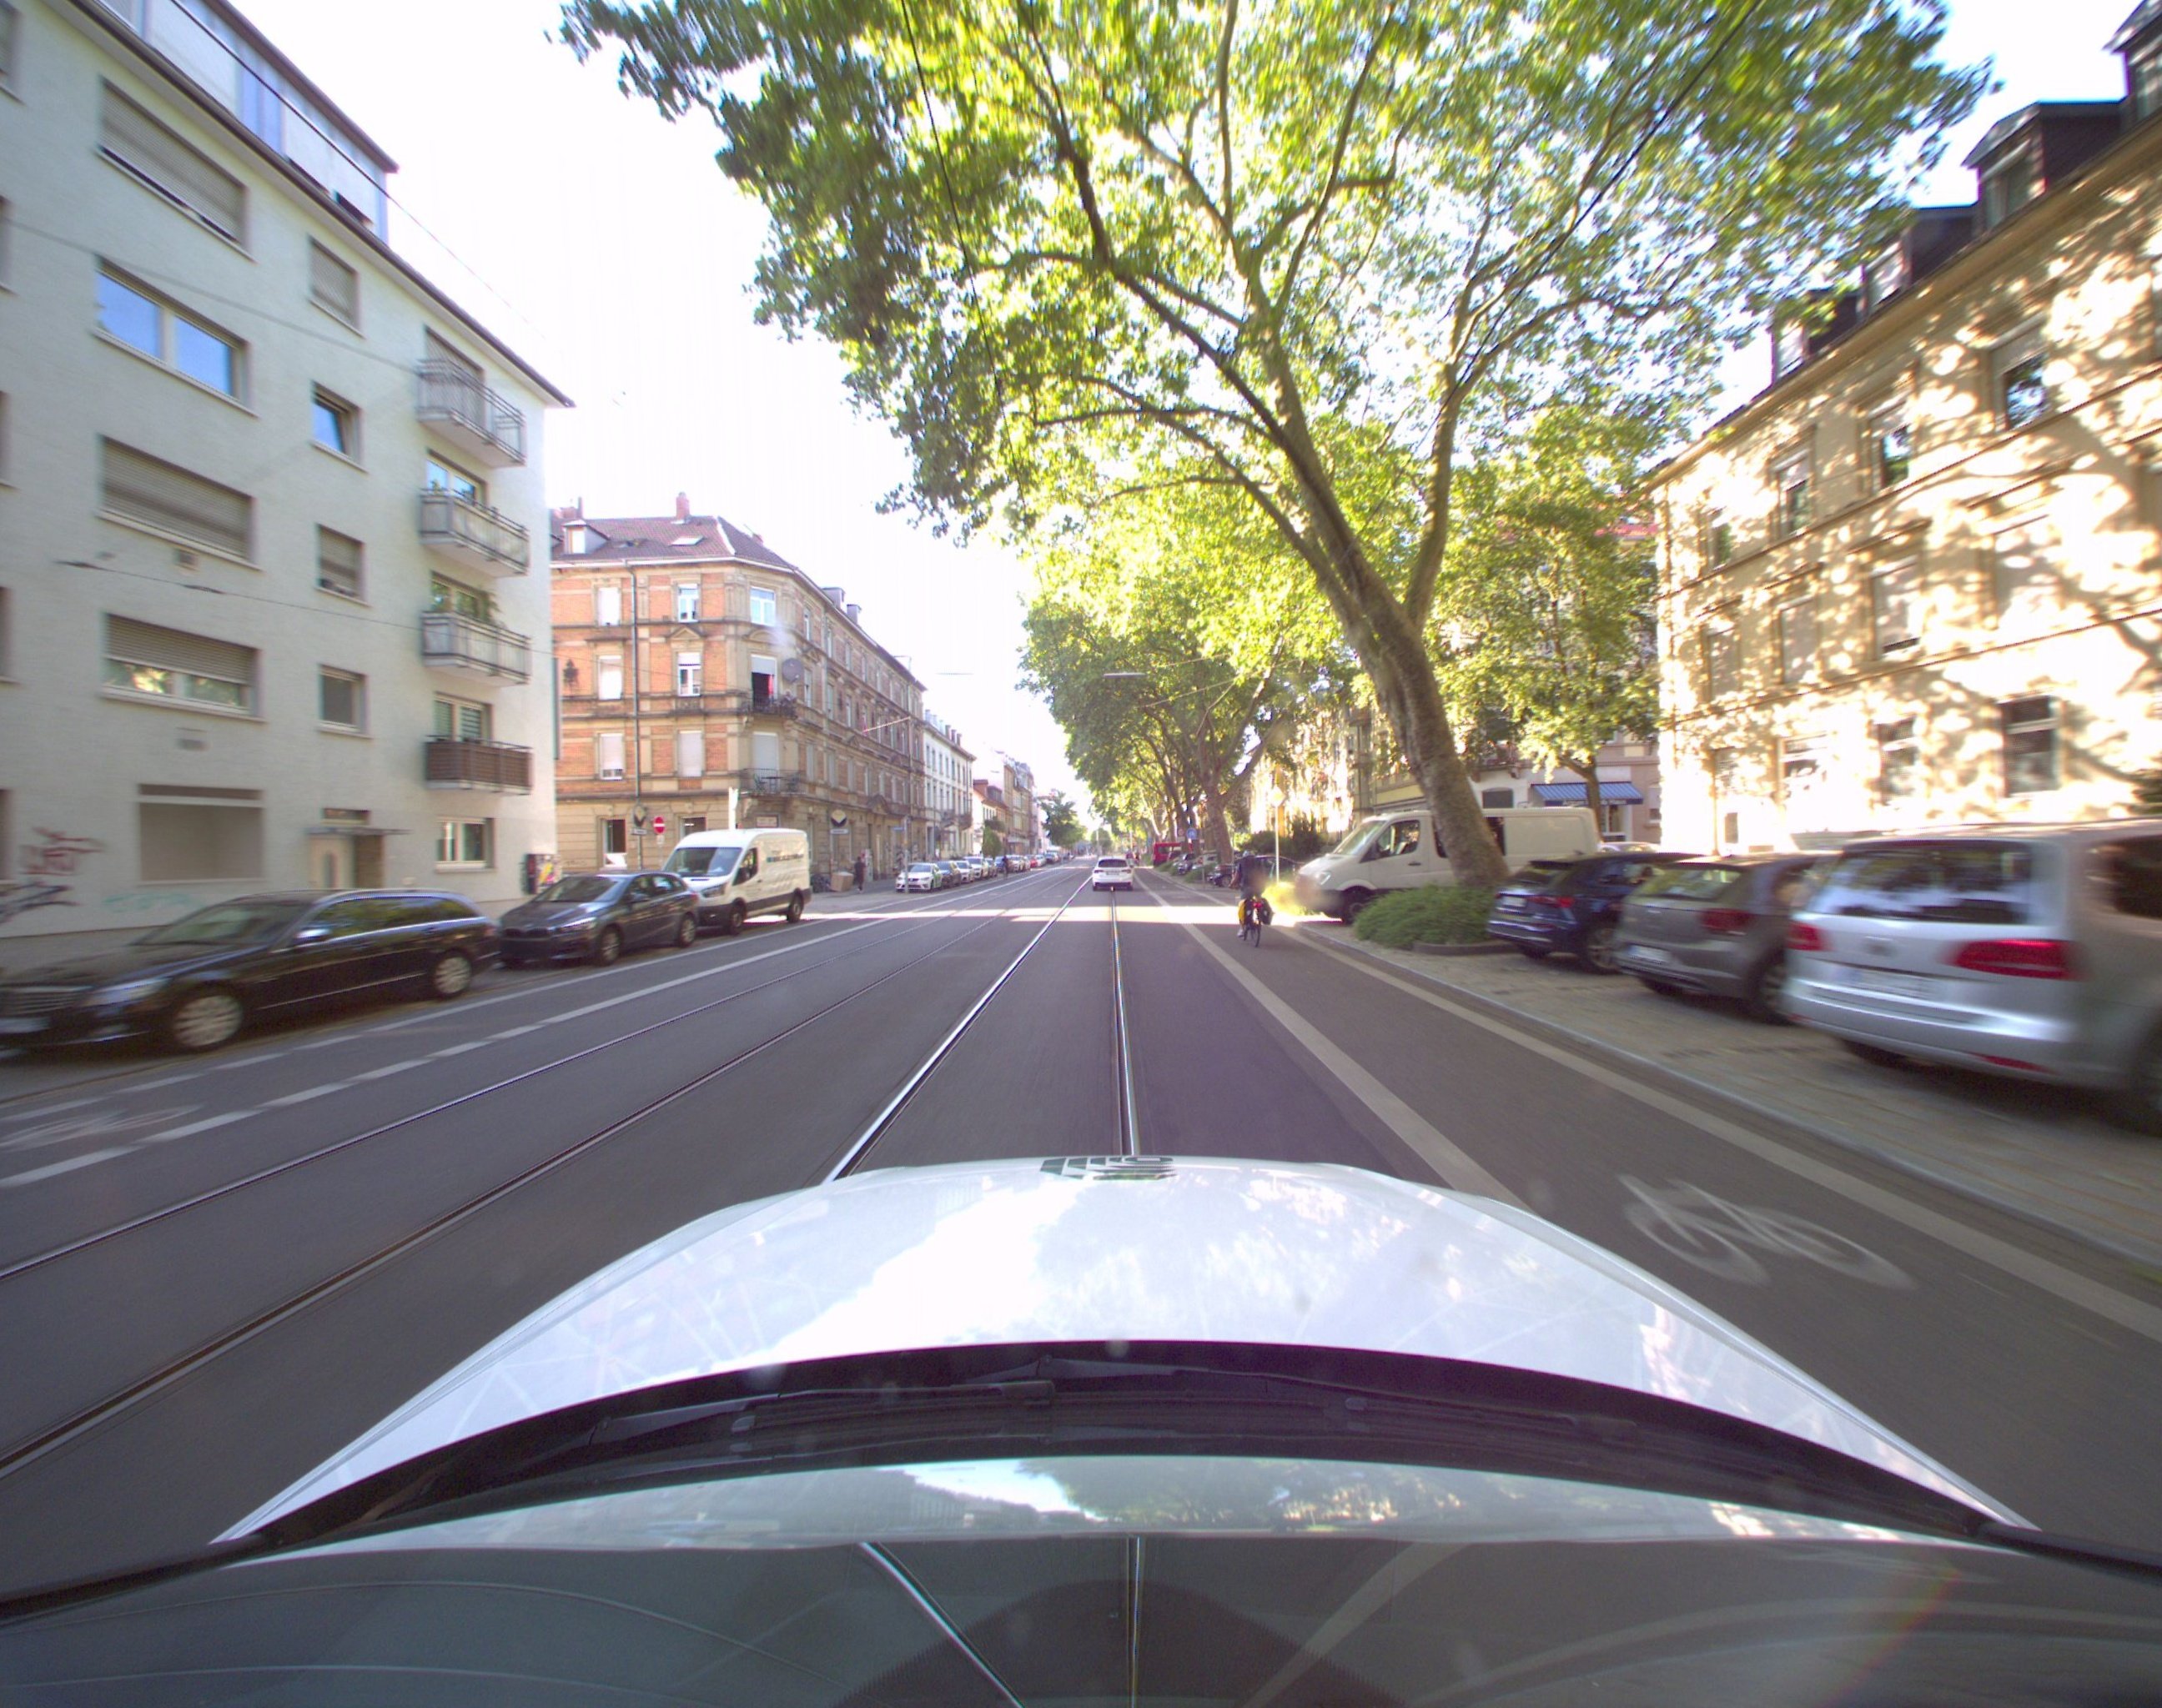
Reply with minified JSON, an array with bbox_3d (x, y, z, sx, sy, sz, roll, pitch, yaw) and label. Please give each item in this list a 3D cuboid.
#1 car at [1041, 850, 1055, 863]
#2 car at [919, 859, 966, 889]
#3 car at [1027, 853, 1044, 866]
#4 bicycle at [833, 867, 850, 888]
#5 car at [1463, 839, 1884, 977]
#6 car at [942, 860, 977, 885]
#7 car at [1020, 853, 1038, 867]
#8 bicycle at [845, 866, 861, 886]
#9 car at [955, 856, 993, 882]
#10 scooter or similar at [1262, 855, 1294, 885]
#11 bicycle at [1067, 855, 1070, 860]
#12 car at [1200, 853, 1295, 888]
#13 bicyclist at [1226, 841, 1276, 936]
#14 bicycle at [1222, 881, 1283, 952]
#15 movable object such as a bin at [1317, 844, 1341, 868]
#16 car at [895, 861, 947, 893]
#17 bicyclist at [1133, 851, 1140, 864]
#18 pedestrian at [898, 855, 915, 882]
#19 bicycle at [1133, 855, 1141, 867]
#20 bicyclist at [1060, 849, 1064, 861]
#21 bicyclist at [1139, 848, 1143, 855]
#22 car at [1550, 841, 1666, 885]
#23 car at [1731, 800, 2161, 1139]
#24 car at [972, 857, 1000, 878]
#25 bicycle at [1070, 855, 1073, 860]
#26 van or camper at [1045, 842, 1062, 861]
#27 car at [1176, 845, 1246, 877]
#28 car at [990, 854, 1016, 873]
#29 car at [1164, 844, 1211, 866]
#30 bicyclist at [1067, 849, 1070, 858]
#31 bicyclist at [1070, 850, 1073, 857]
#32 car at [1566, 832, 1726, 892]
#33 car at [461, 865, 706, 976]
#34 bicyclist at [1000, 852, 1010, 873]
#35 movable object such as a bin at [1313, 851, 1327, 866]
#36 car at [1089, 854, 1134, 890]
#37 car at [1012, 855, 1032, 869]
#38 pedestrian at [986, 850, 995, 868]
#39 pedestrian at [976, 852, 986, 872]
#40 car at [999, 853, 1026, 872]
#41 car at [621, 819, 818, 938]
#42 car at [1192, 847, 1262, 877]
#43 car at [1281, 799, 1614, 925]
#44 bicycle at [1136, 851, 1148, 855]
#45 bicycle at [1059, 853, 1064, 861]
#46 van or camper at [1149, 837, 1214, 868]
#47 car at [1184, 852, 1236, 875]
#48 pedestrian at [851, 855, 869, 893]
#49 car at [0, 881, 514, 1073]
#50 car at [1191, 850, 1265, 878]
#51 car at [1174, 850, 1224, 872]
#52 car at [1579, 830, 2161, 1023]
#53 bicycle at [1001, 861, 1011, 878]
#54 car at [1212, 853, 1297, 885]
[{"bbox_3d":[-5.020,0.362,124.368,1.957,1.781,4.938,1,0,1],"label":"car"},{"bbox_3d":[-7.795,1.071,46.172,1.734,1.562,4.787,0,0,1],"label":"car"},{"bbox_3d":[-5.773,0.700,103.653,1.821,1.502,4.688,0,0,0],"label":"car"},{"bbox_3d":[-12.926,1.261,43.970,0.371,1.034,1.848,-2,0,-1],"label":"bicycle"},{"bbox_3d":[7.304,0.621,10.354,4.040,1.460,1.796,-2,0,0],"label":"car"},{"bbox_3d":[-7.616,1.135,51.397,1.695,1.420,3.997,0,0,-2],"label":"car"},{"bbox_3d":[-6.217,0.699,98.125,1.561,1.562,3.455,-2,0,6],"label":"car"},{"bbox_3d":[-12.957,1.243,46.239,0.371,1.034,1.848,-2,0,-1],"label":"bicycle"},{"bbox_3d":[-7.416,0.991,56.823,1.779,1.723,4.721,0,0,2],"label":"car"},{"bbox_3d":[8.465,0.687,34.974,1.297,1.256,0.342,-2,0,15],"label":"scooter or similar"},{"bbox_3d":[-2.471,0.723,163.093,0.482,1.047,2.042,-3,0,4],"label":"bicycle"},{"bbox_3d":[7.808,0.770,38.506,4.083,1.491,1.830,-2,0,-1],"label":"car"},{"bbox_3d":[2.920,0.577,14.054,0.612,1.552,0.936,3,0,2],"label":"bicyclist"},{"bbox_3d":[2.893,1.022,13.962,0.593,1.004,2.512,1,0,2],"label":"bicycle"},{"bbox_3d":[15.855,0.105,52.033,1.162,1.437,1.118,-3,0,2],"label":"movable object such as a bin"},{"bbox_3d":[-7.999,1.120,40.972,1.734,1.492,4.046,0,0,1],"label":"car"},{"bbox_3d":[5.791,0.348,84.479,0.676,1.339,0.525,0,0,2],"label":"bicyclist"},{"bbox_3d":[-11.055,0.907,51.588,0.656,1.665,0.773,-1,0,34],"label":"pedestrian"},{"bbox_3d":[5.822,0.728,84.842,0.677,1.155,2.966,0,0,2],"label":"bicycle"},{"bbox_3d":[-2.729,0.160,115.462,0.471,1.636,0.800,-2,0,3],"label":"bicyclist"},{"bbox_3d":[14.493,-0.573,195.791,0.731,1.589,0.589,-2,0,14],"label":"bicyclist"},{"bbox_3d":[21.499,0.350,33.304,3.663,1.616,1.692,-2,2,1],"label":"car"},{"bbox_3d":[6.672,0.523,4.994,3.943,1.655,1.795,-2,-1,-1],"label":"car"},{"bbox_3d":[-7.260,0.980,62.382,1.657,1.521,4.064,0,0,0],"label":"car"},{"bbox_3d":[-1.969,0.660,170.570,0.496,0.943,1.923,-3,0,4],"label":"bicycle"},{"bbox_3d":[-4.781,-0.449,143.285,2.207,3.140,7.121,-1,0,4],"label":"van or camper"},{"bbox_3d":[8.506,0.445,53.550,4.249,1.718,1.848,-4,0,-1],"label":"car"},{"bbox_3d":[-6.835,0.828,71.911,1.547,1.515,3.929,-2,0,5],"label":"car"},{"bbox_3d":[9.465,0.112,72.542,3.807,1.649,1.767,-3,-1,-1],"label":"car"},{"bbox_3d":[-2.473,-0.122,163.044,0.533,1.634,0.897,-4,0,4],"label":"bicyclist"},{"bbox_3d":[-1.996,-0.061,170.601,0.635,1.503,1.071,-3,0,3],"label":"bicyclist"},{"bbox_3d":[14.735,0.189,21.490,1.727,1.455,3.568,0,0,-1],"label":"car"},{"bbox_3d":[-8.771,1.066,14.883,1.712,1.631,4.347,-2,0,1],"label":"car"},{"bbox_3d":[-5.425,0.610,58.343,0.580,1.482,0.807,-2,0,2],"label":"bicyclist"},{"bbox_3d":[15.830,0.325,53.865,0.745,0.943,0.466,-3,0,2],"label":"movable object such as a bin"},{"bbox_3d":[1.267,0.747,35.479,1.836,1.480,3.838,-1,0,0],"label":"car"},{"bbox_3d":[-6.339,0.869,87.904,1.680,1.477,4.260,0,0,2],"label":"car"},{"bbox_3d":[-9.068,0.516,81.244,0.757,1.821,0.830,-2,0,-1],"label":"pedestrian"},{"bbox_3d":[-9.986,0.797,81.291,0.757,2.013,0.830,-2,0,0],"label":"pedestrian"},{"bbox_3d":[-6.419,0.765,77.227,1.849,1.703,4.767,-2,0,3],"label":"car"},{"bbox_3d":[-8.773,0.523,20.504,2.056,2.535,5.672,-2,0,4],"label":"car"},{"bbox_3d":[9.033,0.506,50.499,4.014,1.643,1.681,-2,0,0],"label":"car"},{"bbox_3d":[7.372,0.148,16.912,5.965,2.282,2.008,-2,1,3],"label":"car"},{"bbox_3d":[14.613,-0.227,195.765,2.748,0.999,0.595,0,0,16],"label":"bicycle"},{"bbox_3d":[-2.720,0.447,115.399,0.479,1.086,1.847,-2,0,3],"label":"bicycle"},{"bbox_3d":[9.448,-0.153,77.066,5.796,2.518,2.287,-4,1,0],"label":"van or camper"},{"bbox_3d":[9.534,0.700,60.408,3.581,1.599,1.542,-2,-1,2],"label":"car"},{"bbox_3d":[-10.520,0.936,38.772,0.683,1.801,1.054,0,0,-7],"label":"pedestrian"},{"bbox_3d":[-9.017,1.137,9.247,1.711,1.456,4.577,-2,0,4],"label":"car"},{"bbox_3d":[8.600,0.578,47.915,4.014,1.480,1.681,-2,0,0],"label":"car"},{"bbox_3d":[9.076,0.542,62.862,3.581,1.517,1.694,-3,0,2],"label":"car"},{"bbox_3d":[7.206,0.600,7.645,3.940,1.478,1.797,-2,0,1],"label":"car"},{"bbox_3d":[-5.383,1.102,58.499,0.419,1.150,2.233,-3,0,1],"label":"bicycle"},{"bbox_3d":[8.735,0.753,41.292,4.075,1.491,1.684,-2,0,6],"label":"car"}]
